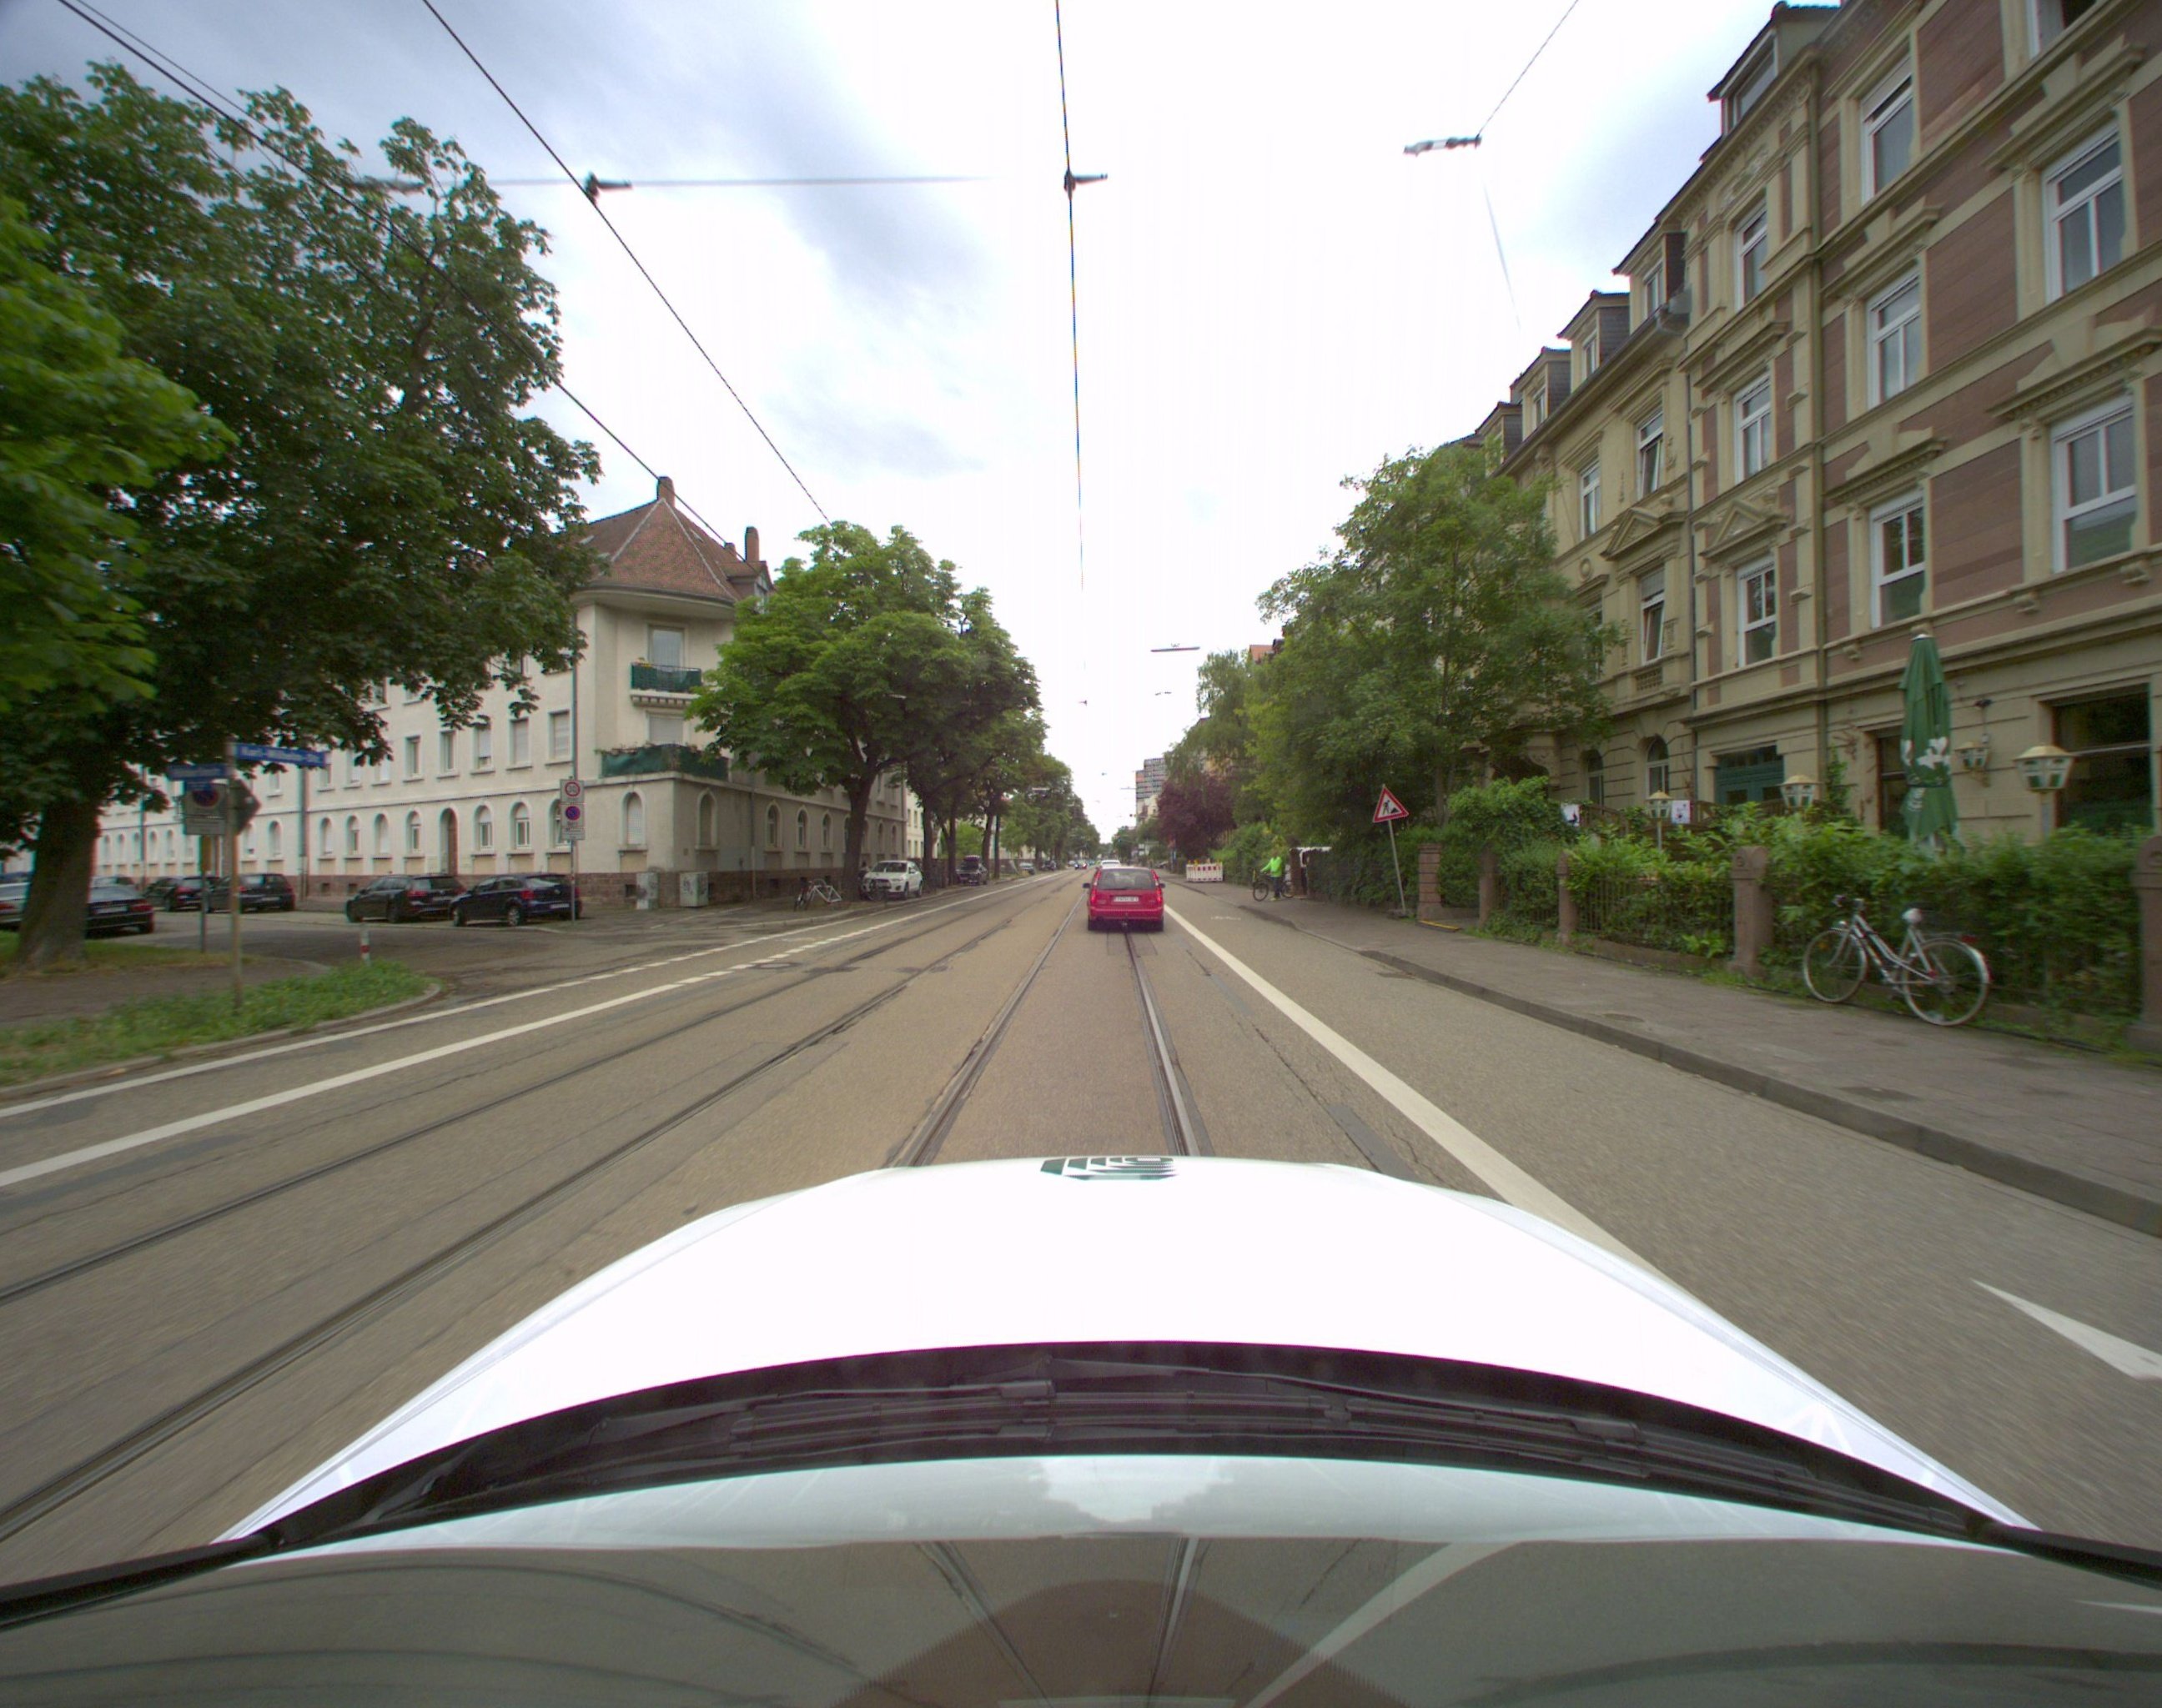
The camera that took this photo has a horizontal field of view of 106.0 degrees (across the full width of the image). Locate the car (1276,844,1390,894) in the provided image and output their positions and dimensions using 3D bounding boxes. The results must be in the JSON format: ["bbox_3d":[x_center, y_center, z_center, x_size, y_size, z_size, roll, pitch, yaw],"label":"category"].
[{"bbox_3d":[10.018,0.597,32.586,3.972,1.858,1.809,-1,-1,2],"label":"car"}]

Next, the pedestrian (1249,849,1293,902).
[{"bbox_3d":[6.678,0.747,28.722,1.224,1.733,1.018,-4,-1,1],"label":"pedestrian"}]

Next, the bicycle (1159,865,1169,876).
[{"bbox_3d":[11.324,2.239,111.101,0.910,1.507,2.392,-1,-1,19],"label":"bicycle"}]

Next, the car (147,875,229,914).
[{"bbox_3d":[-37.062,1.643,33.768,3.948,1.475,1.551,-1,-1,31],"label":"car"}]

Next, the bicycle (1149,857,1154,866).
[{"bbox_3d":[10.614,1.179,122.778,0.705,1.300,1.905,-1,-1,2],"label":"bicycle"}]

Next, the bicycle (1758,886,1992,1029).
[{"bbox_3d":[6.909,0.833,7.223,0.300,1.041,1.849,-1,0,2],"label":"bicycle"}]

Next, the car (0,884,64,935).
[{"bbox_3d":[-33.078,1.679,25.159,3.948,1.410,1.684,-1,-1,33],"label":"car"}]

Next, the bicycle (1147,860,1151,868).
[{"bbox_3d":[10.905,1.605,130.824,0.549,1.400,1.734,-1,-1,2],"label":"bicycle"}]

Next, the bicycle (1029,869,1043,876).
[{"bbox_3d":[-5.789,2.419,105.522,1.741,0.844,0.684,0,-1,2],"label":"bicycle"}]

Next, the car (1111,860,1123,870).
[{"bbox_3d":[5.772,1.732,129.912,1.736,1.606,3.999,0,-1,0],"label":"car"}]

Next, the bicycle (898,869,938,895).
[{"bbox_3d":[-7.940,1.344,39.683,1.730,1.192,0.655,1,0,16],"label":"bicycle"}]

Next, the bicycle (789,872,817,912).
[{"bbox_3d":[-8.816,1.180,25.876,0.675,1.136,1.927,-1,1,-15],"label":"bicycle"}]

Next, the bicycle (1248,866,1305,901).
[{"bbox_3d":[6.972,1.050,29.136,1.835,1.076,0.606,-4,-1,0],"label":"bicycle"}]

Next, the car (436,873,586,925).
[{"bbox_3d":[-15.725,1.206,22.472,3.715,1.307,1.751,-1,-1,25],"label":"car"}]

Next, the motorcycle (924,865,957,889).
[{"bbox_3d":[-7.787,1.278,45.216,0.857,1.288,2.331,0,-1,15],"label":"motorcycle"}]

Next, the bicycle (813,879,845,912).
[{"bbox_3d":[-7.801,1.258,25.239,0.481,0.958,1.399,-1,-1,4],"label":"bicycle"}]

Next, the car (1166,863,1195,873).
[{"bbox_3d":[14.088,1.972,115.466,3.960,1.361,1.898,-1,-1,12],"label":"car"}]

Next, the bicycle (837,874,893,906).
[{"bbox_3d":[-8.039,1.332,30.349,1.915,1.121,0.624,1,-1,1],"label":"bicycle"}]

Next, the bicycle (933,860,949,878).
[{"bbox_3d":[-11.078,1.160,64.672,0.789,1.382,2.142,-1,-1,2],"label":"bicycle"}]

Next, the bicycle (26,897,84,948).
[{"bbox_3d":[-20.473,1.345,16.244,1.653,0.925,0.451,-1,0,29],"label":"bicycle"}]

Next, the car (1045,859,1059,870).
[{"bbox_3d":[-4.266,1.574,120.203,1.844,1.563,3.944,0,-1,2],"label":"car"}]

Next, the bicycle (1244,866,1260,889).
[{"bbox_3d":[7.860,1.072,37.442,0.477,1.045,1.532,-1,-1,2],"label":"bicycle"}]

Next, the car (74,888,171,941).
[{"bbox_3d":[-26.708,1.645,22.690,2.929,1.299,1.364,-1,-1,33],"label":"car"}]

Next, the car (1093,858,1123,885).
[{"bbox_3d":[1.712,1.059,50.037,1.711,1.625,3.944,0,-1,4],"label":"car"}]

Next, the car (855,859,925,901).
[{"bbox_3d":[-7.956,1.059,34.359,1.890,1.655,4.225,0,-1,1],"label":"car"}]

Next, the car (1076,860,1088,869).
[{"bbox_3d":[0.181,1.700,130.620,1.749,1.380,4.027,-1,-1,1],"label":"car"}]

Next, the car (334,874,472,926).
[{"bbox_3d":[-20.858,1.367,25.047,3.896,1.464,1.716,-1,0,24],"label":"car"}]

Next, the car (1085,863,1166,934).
[{"bbox_3d":[0.989,0.942,18.874,1.683,1.441,3.744,0,0,2],"label":"car"}]

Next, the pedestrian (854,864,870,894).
[{"bbox_3d":[-10.635,1.205,39.597,0.562,1.467,0.723,-1,-1,2],"label":"pedestrian"}]

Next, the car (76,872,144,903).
[{"bbox_3d":[-46.420,1.571,38.925,3.270,1.430,1.397,-1,-1,28],"label":"car"}]

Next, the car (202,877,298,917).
[{"bbox_3d":[-32.205,1.619,31.563,3.455,1.441,1.685,-1,-1,28],"label":"car"}]

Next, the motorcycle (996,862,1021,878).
[{"bbox_3d":[-6.686,1.477,75.159,2.243,1.511,0.932,-1,-3,36],"label":"motorcycle"}]

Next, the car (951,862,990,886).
[{"bbox_3d":[-7.192,1.283,53.264,1.770,1.511,4.240,0,0,3],"label":"car"}]
